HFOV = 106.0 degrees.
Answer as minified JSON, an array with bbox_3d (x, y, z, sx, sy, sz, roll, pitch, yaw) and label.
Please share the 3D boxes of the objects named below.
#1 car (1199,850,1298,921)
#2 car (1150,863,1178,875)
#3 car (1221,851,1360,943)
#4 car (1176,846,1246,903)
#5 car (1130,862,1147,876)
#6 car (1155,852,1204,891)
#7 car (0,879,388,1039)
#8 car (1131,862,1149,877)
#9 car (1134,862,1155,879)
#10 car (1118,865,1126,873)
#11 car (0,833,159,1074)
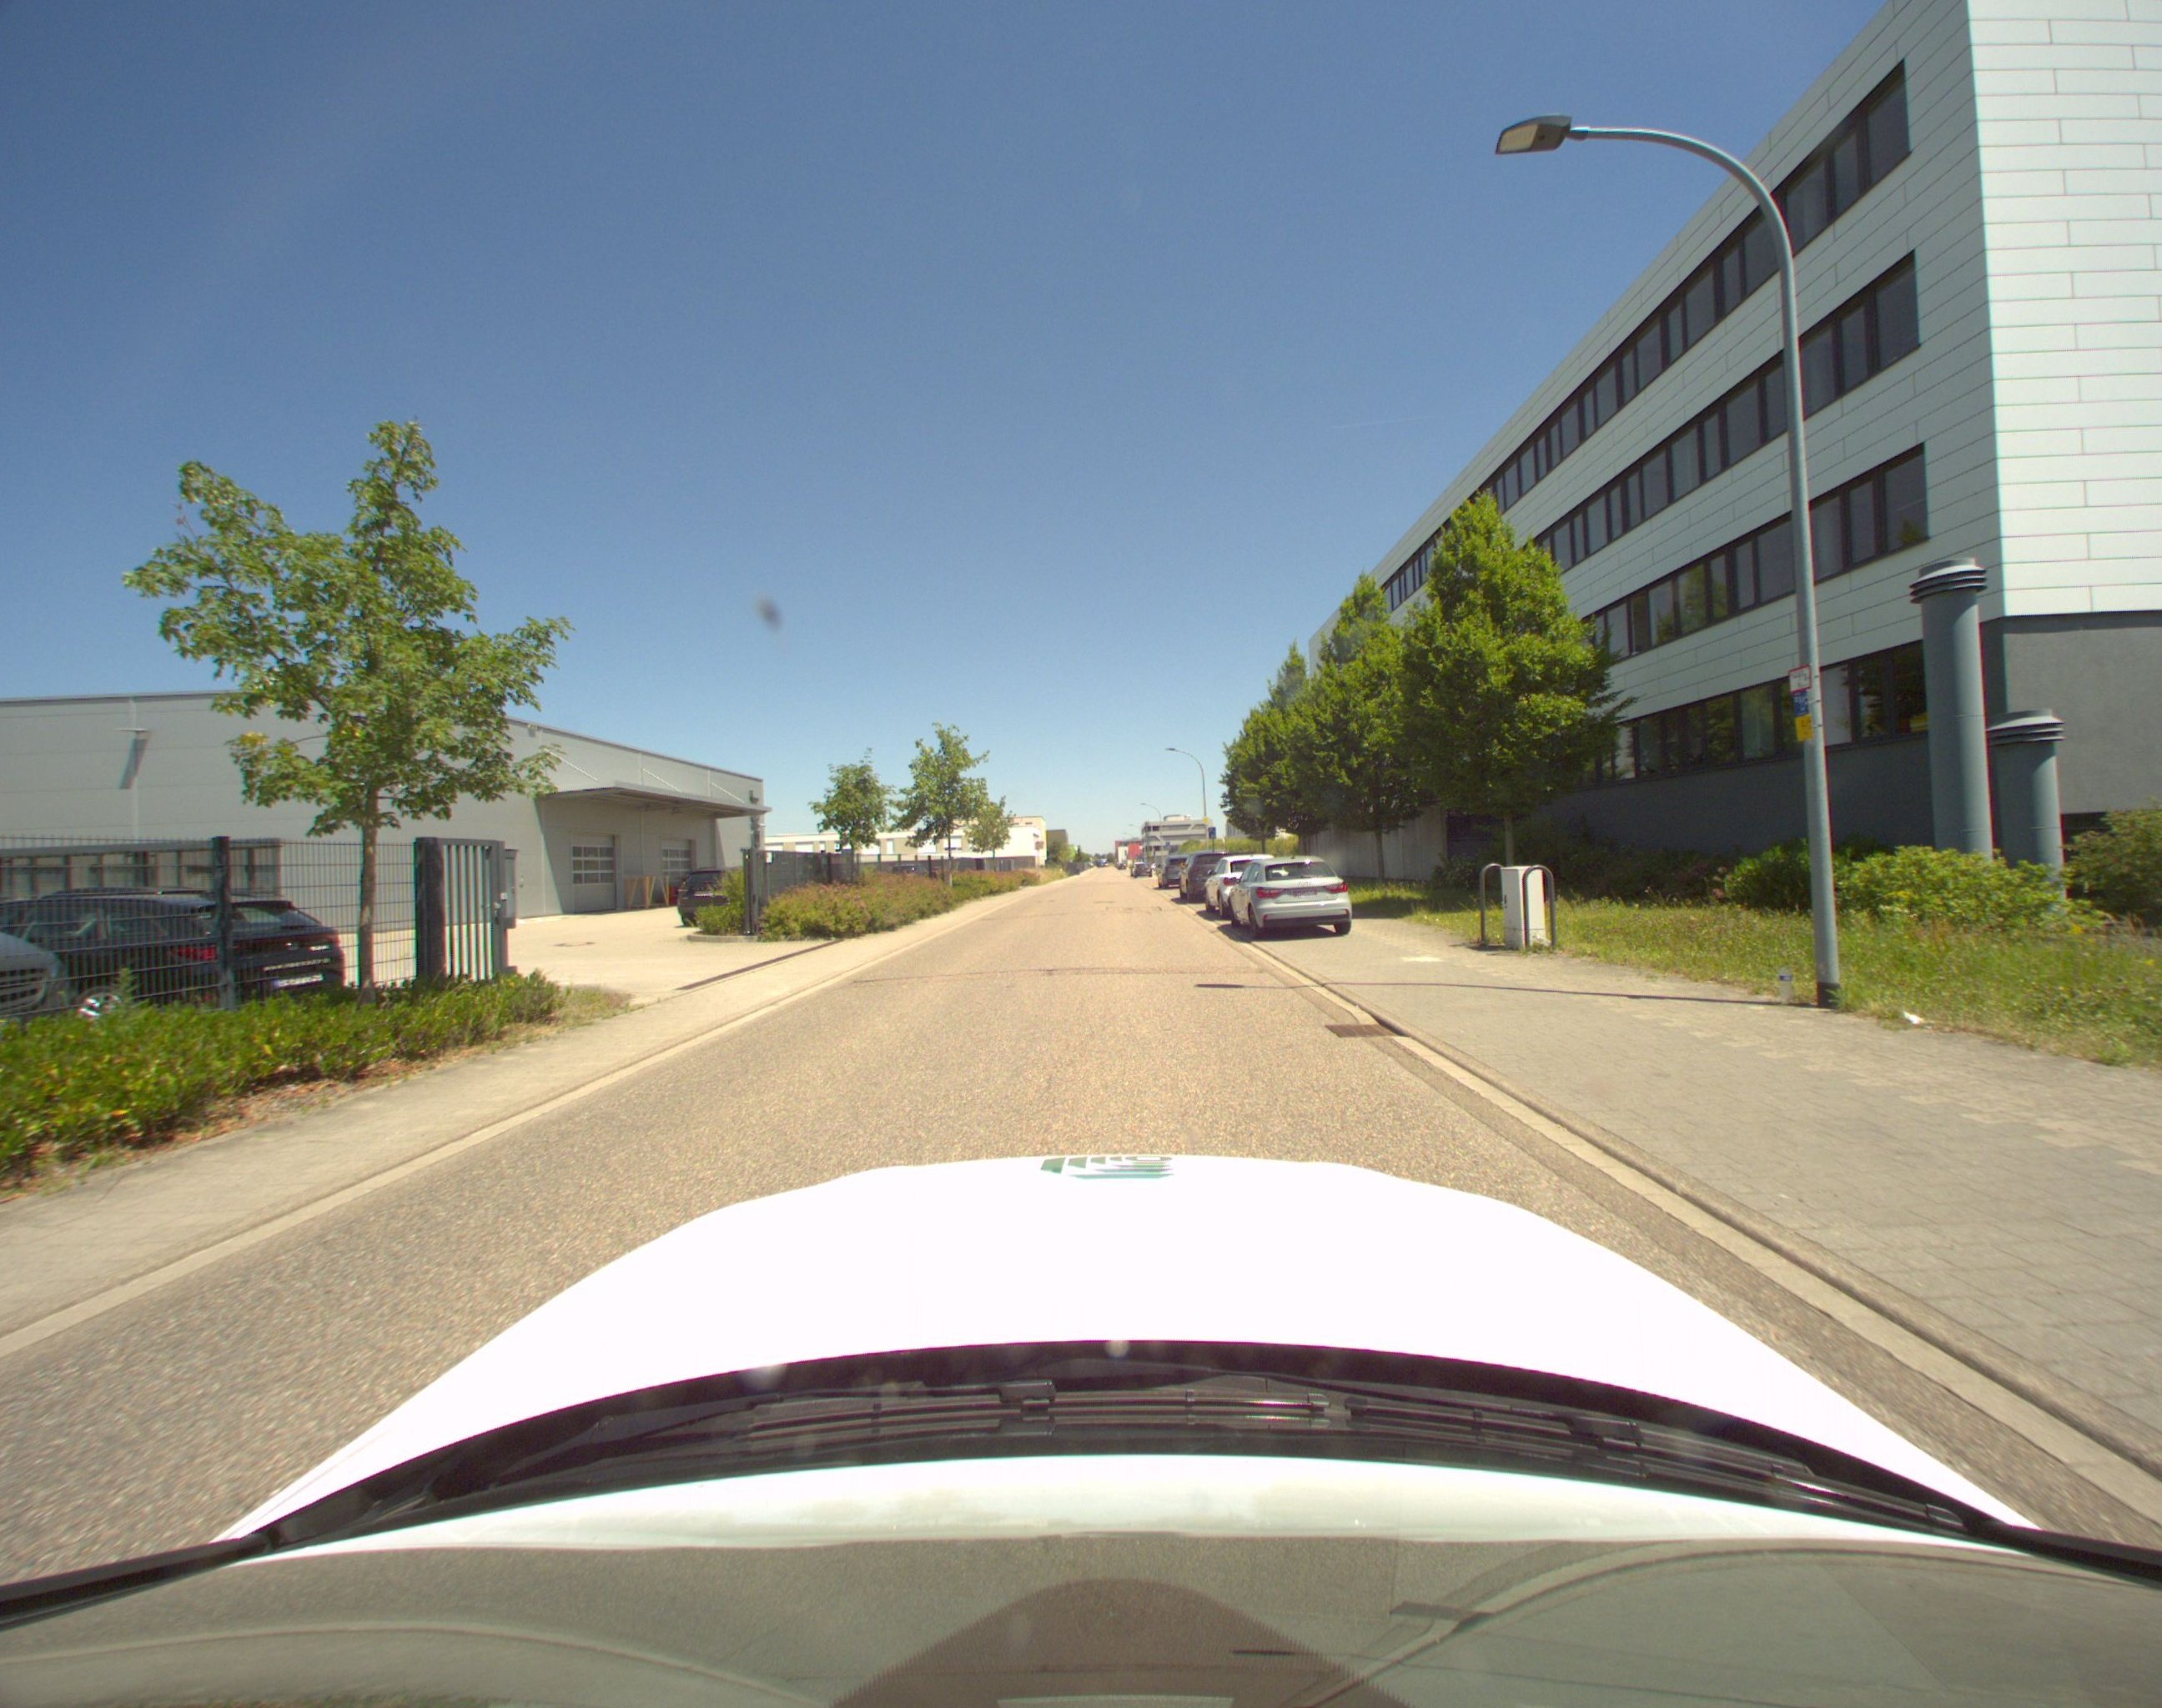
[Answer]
[{"bbox_3d":[4.077,0.724,20.465,1.709,1.481,4.033,-5,-1,2],"label":"car"},{"bbox_3d":[14.030,2.508,137.207,4.603,2.014,2.610,0,-1,5],"label":"car"},{"bbox_3d":[3.860,0.732,15.694,1.709,1.423,3.953,-5,-1,2],"label":"car"},{"bbox_3d":[4.292,0.662,27.565,1.751,1.663,4.365,-4,-1,2],"label":"car"},{"bbox_3d":[6.758,1.744,95.156,1.899,1.546,4.005,-4,-1,4],"label":"car"},{"bbox_3d":[4.823,0.836,40.425,1.797,1.662,4.608,-5,-1,1],"label":"car"},{"bbox_3d":[-10.523,1.070,8.846,4.290,1.446,1.964,-2,-1,1],"label":"car"},{"bbox_3d":[6.441,1.674,88.782,1.899,1.546,4.005,-4,-1,4],"label":"car"},{"bbox_3d":[6.273,1.583,79.864,1.899,1.448,4.005,-4,-1,4],"label":"car"},{"bbox_3d":[9.545,3.502,190.467,1.769,1.728,4.002,0,-1,2],"label":"car"},{"bbox_3d":[-10.853,0.832,6.371,5.041,1.851,1.964,-2,-1,1],"label":"car"}]
